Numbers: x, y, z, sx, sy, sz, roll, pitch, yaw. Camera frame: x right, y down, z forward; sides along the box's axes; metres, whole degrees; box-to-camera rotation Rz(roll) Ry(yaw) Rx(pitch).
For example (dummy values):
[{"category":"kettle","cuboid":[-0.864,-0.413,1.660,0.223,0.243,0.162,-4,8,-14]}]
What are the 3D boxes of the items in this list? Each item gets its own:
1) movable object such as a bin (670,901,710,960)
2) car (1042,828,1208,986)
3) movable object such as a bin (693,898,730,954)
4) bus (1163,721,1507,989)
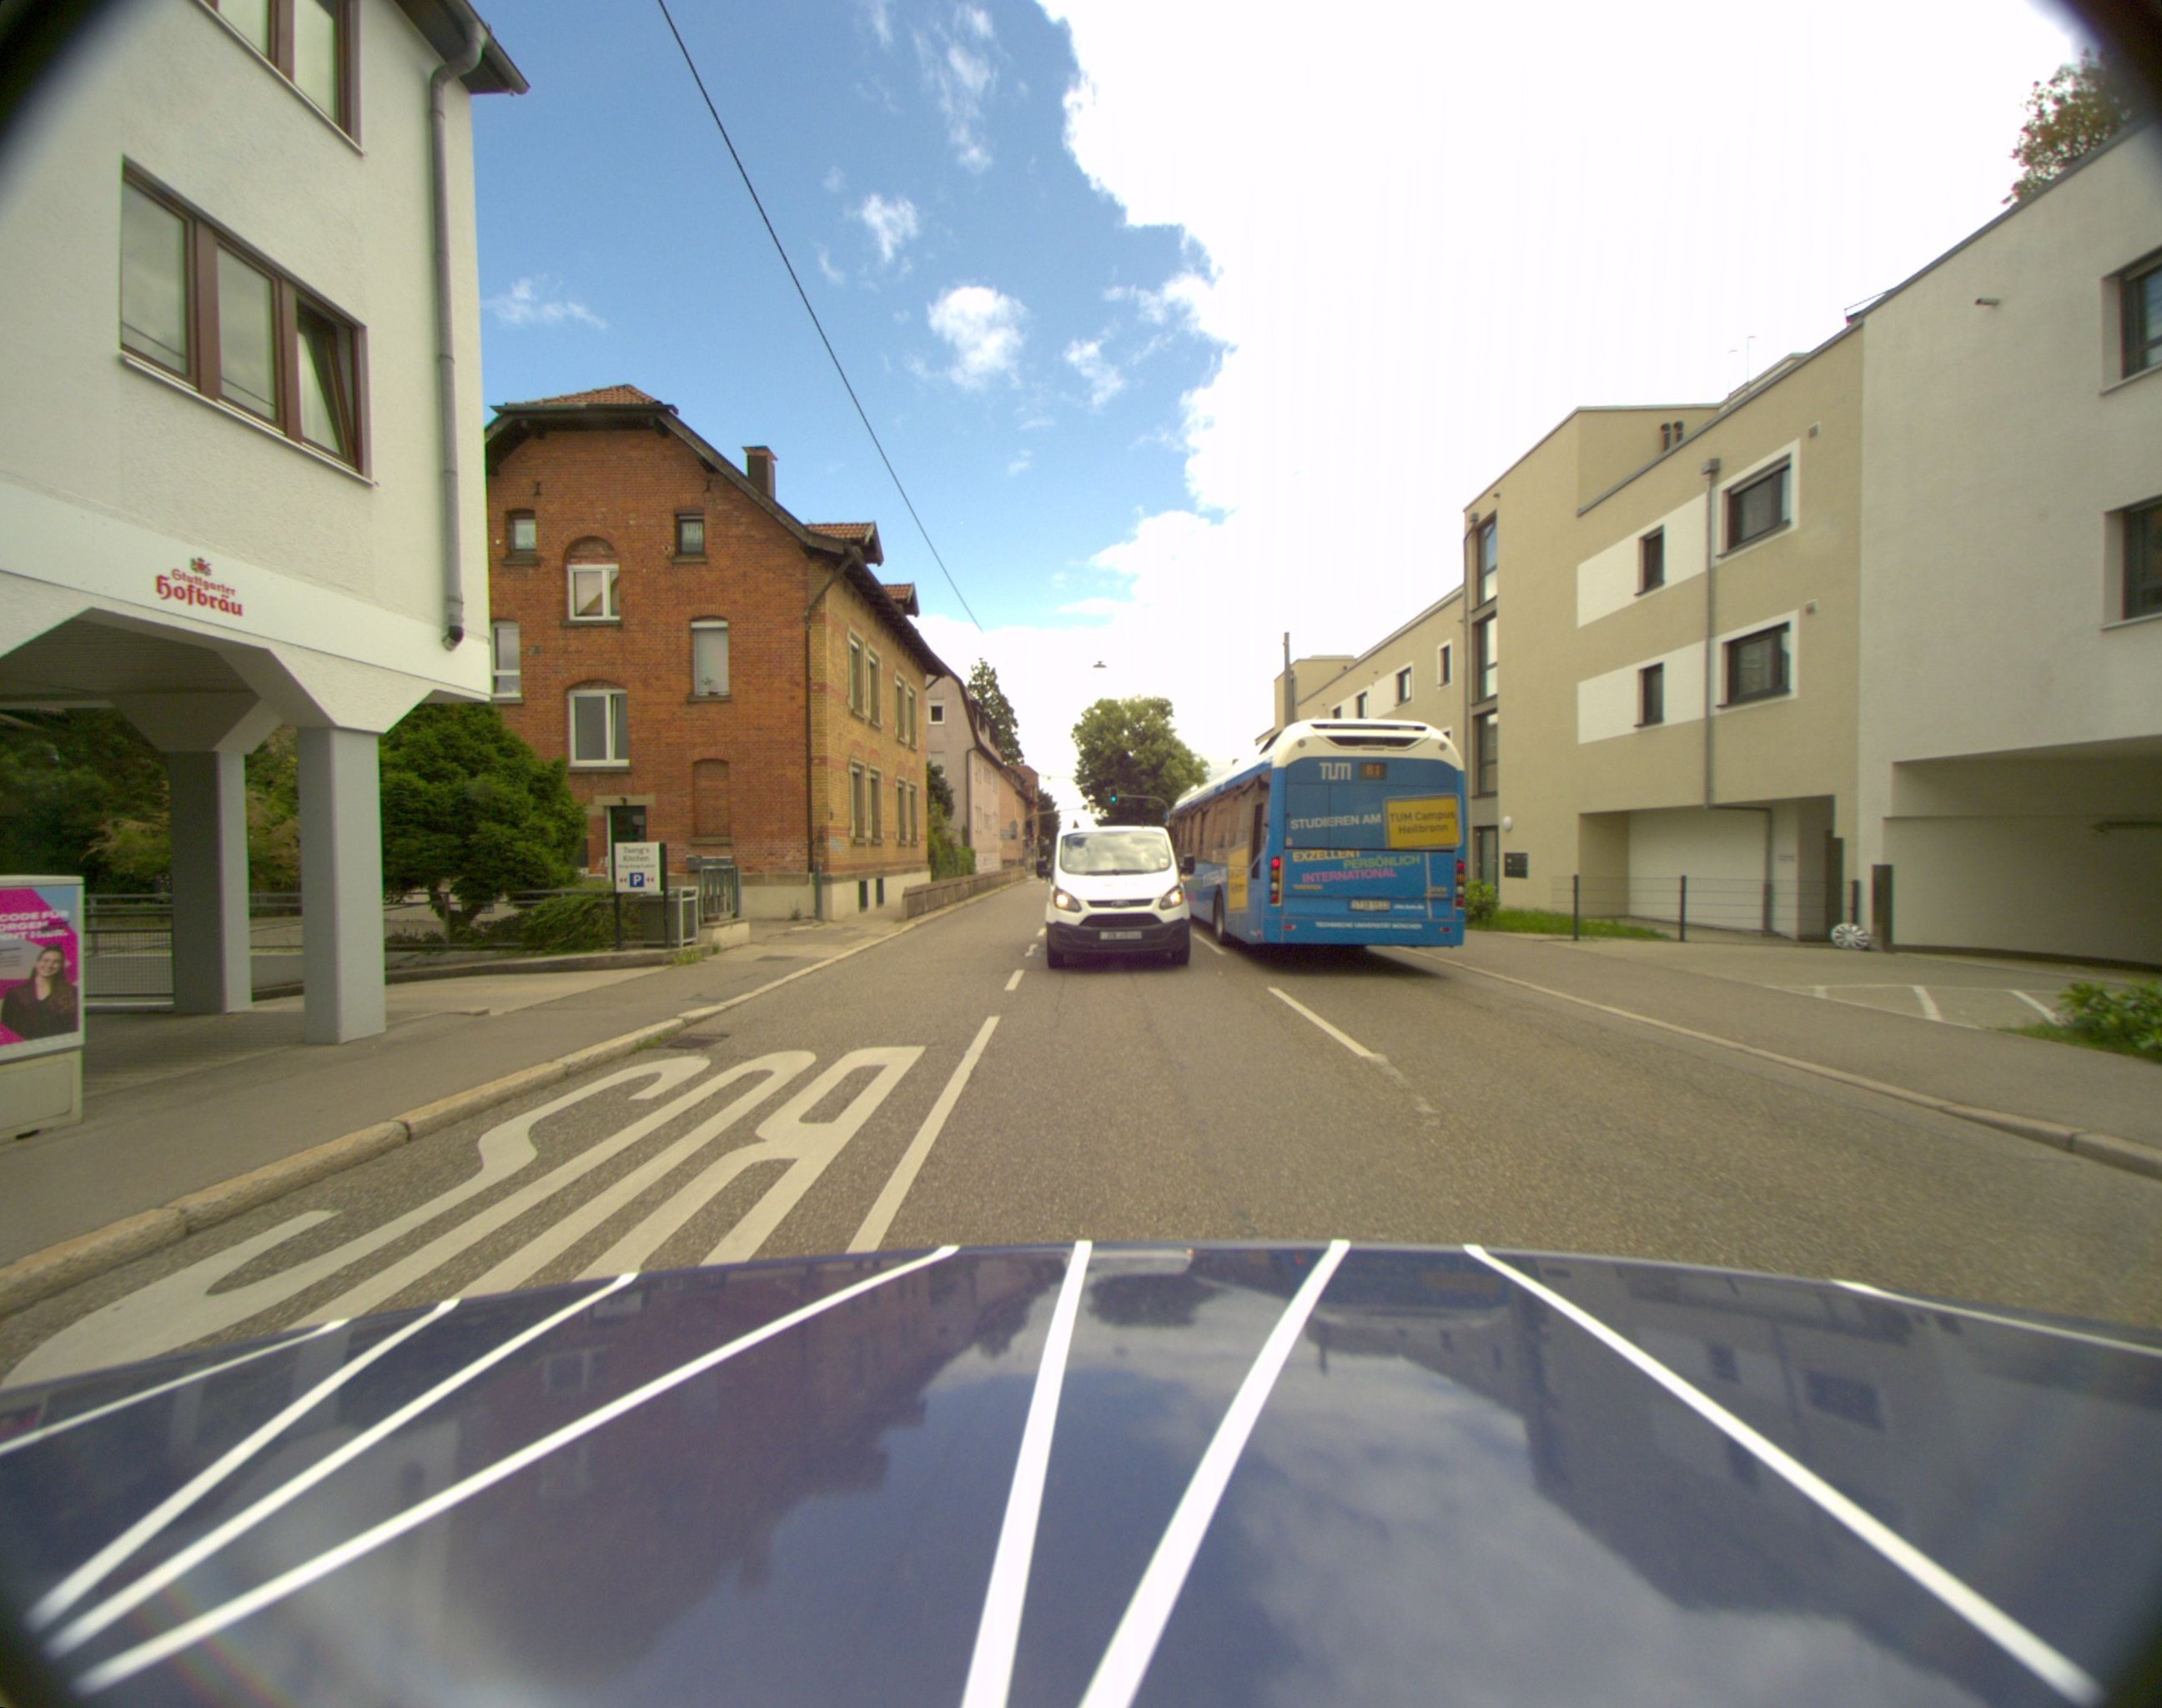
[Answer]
[{"category":"movable object such as a bin","cuboid":[-6.375,1.240,12.395,0.398,0.898,0.456,-1,1,1]},{"category":"car","cuboid":[0.550,0.650,12.064,2.062,1.945,5.060,-1,0,0]},{"category":"movable object such as a bin","cuboid":[-6.315,1.223,13.002,0.398,0.898,0.456,-1,1,1]},{"category":"bus","cuboid":[3.751,0.006,15.312,2.950,3.255,12.007,1,0,0]}]
